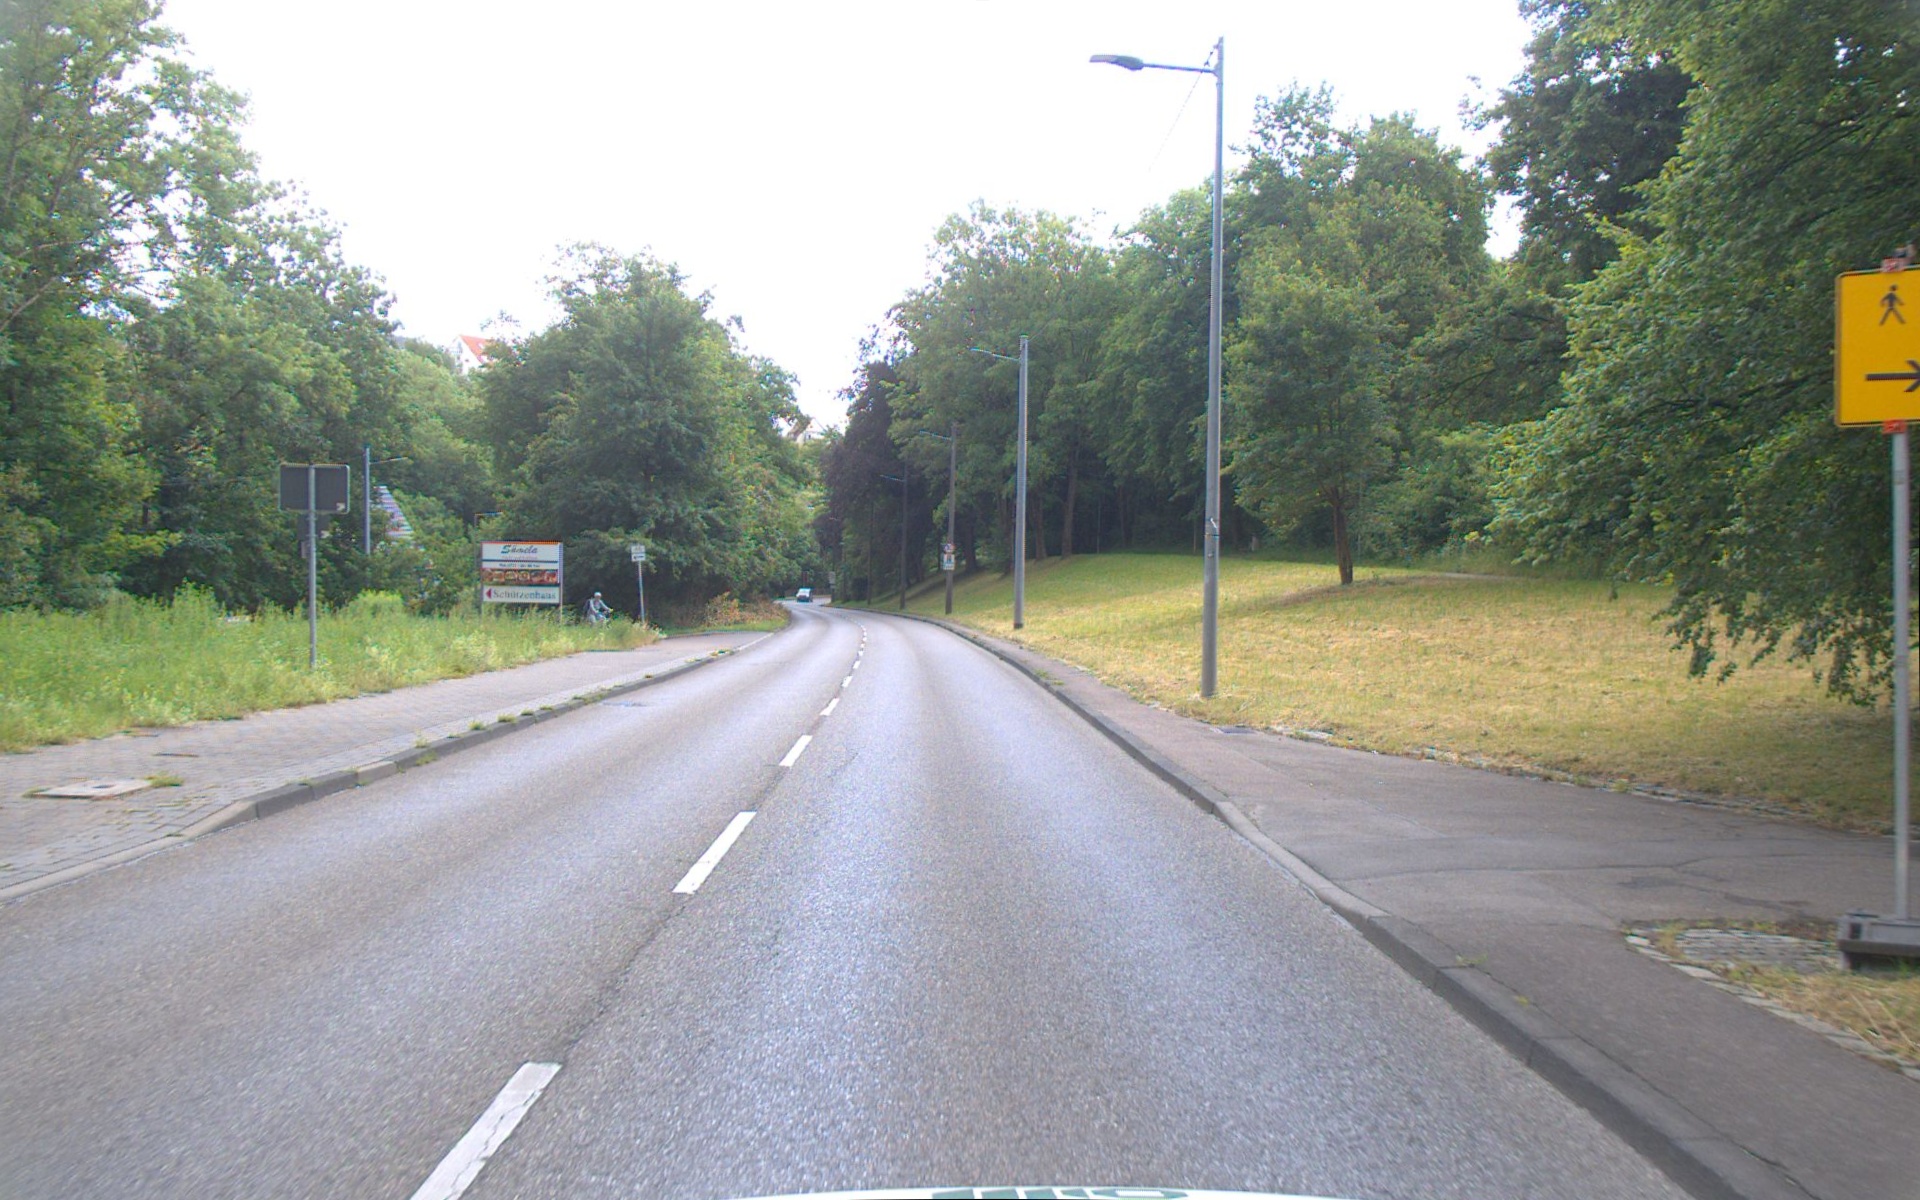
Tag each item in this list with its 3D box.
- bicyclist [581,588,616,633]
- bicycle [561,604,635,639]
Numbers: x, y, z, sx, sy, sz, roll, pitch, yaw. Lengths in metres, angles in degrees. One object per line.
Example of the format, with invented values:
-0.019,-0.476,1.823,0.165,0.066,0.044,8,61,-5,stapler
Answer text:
-11.763,0.335,53.805,0.764,1.452,0.828,0,-1,29,bicyclist
-11.786,0.696,53.826,2.389,1.054,0.830,1,-1,29,bicycle
